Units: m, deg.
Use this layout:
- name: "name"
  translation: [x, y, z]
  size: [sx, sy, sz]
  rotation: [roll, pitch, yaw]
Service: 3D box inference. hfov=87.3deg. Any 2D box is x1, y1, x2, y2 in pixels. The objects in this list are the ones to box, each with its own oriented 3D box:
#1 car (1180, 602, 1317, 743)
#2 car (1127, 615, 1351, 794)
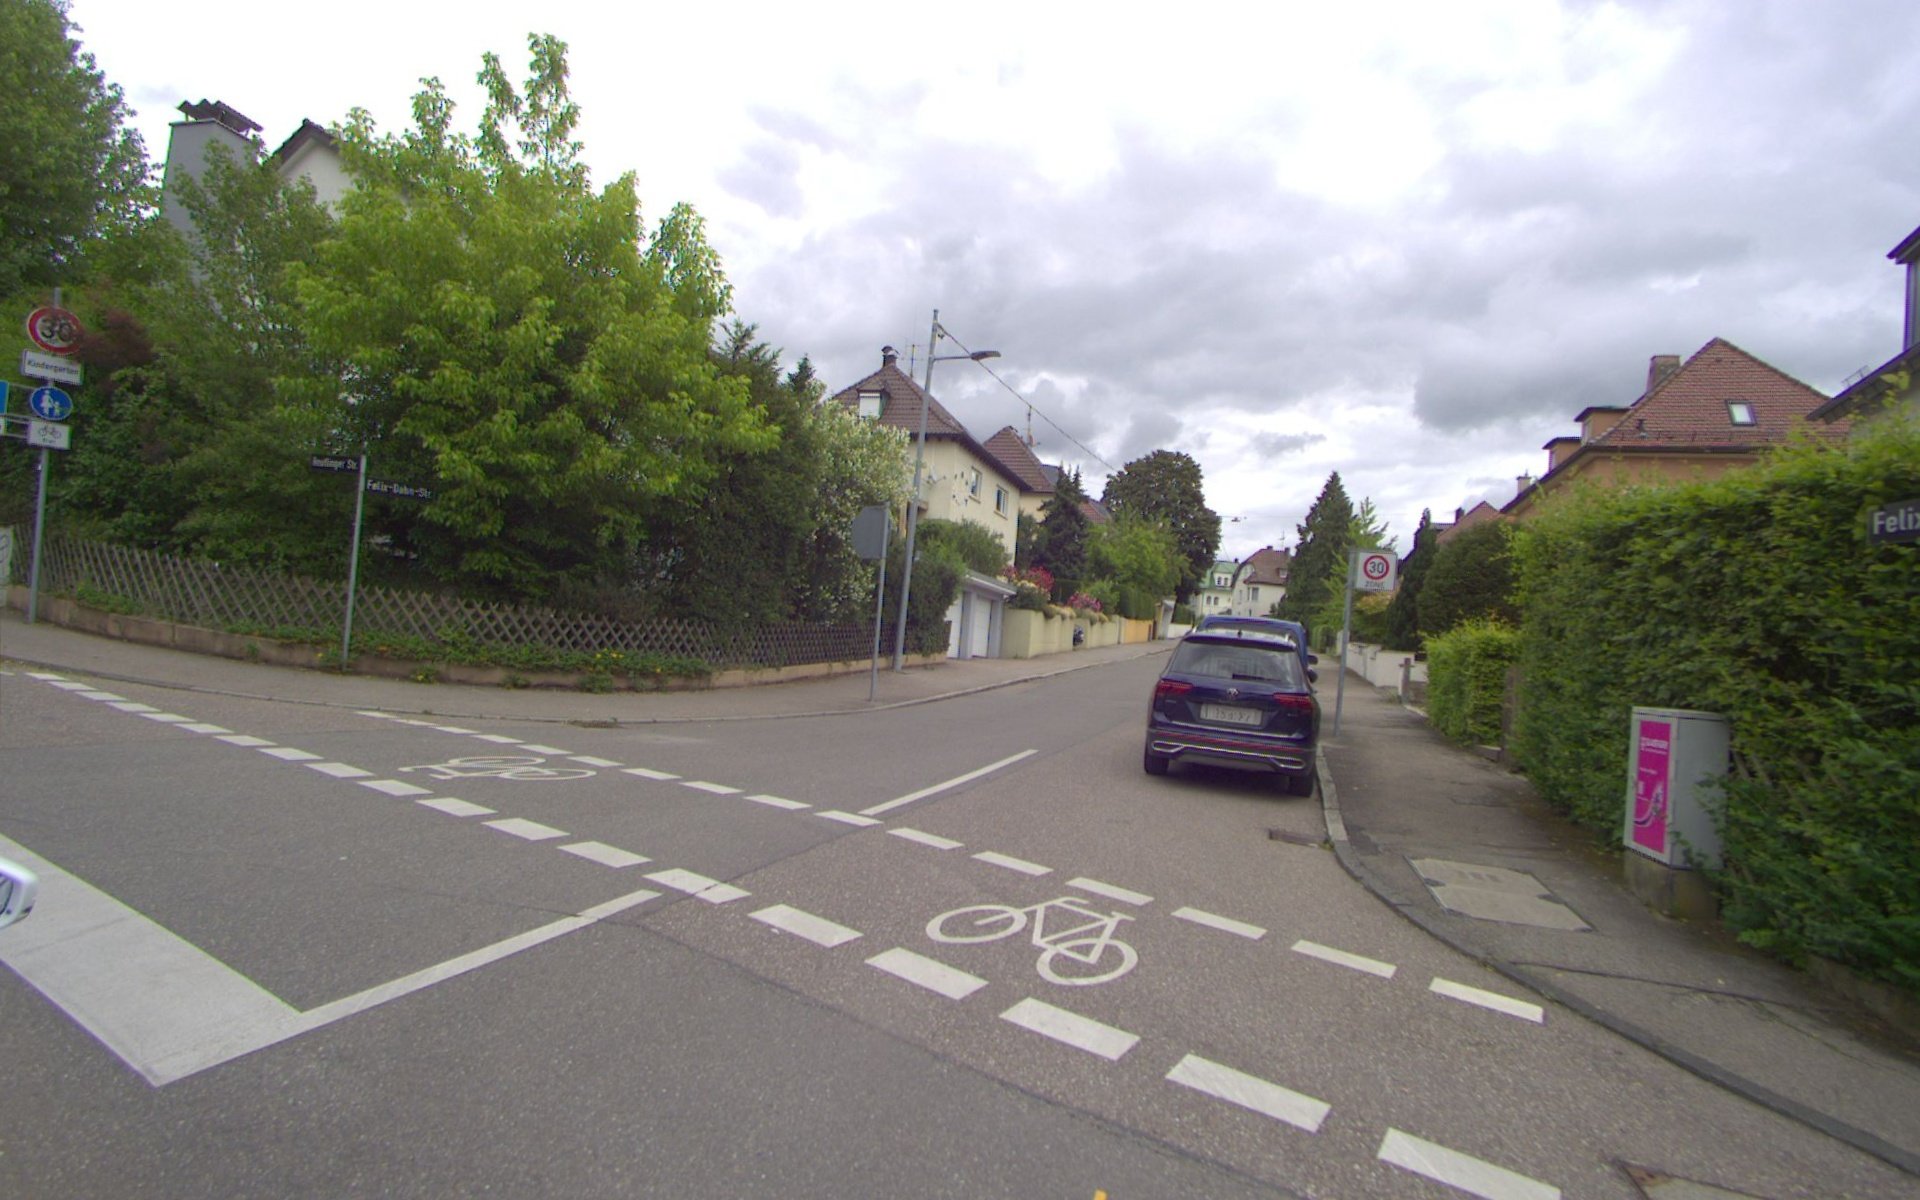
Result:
- name: "car"
  translation: [4.955, 1.147, 17.533]
  size: [1.851, 1.981, 4.735]
  rotation: [4, 0, 15]
- name: "car"
  translation: [3.354, 1.084, 12.153]
  size: [1.962, 1.453, 4.519]
  rotation: [9, 1, 16]
